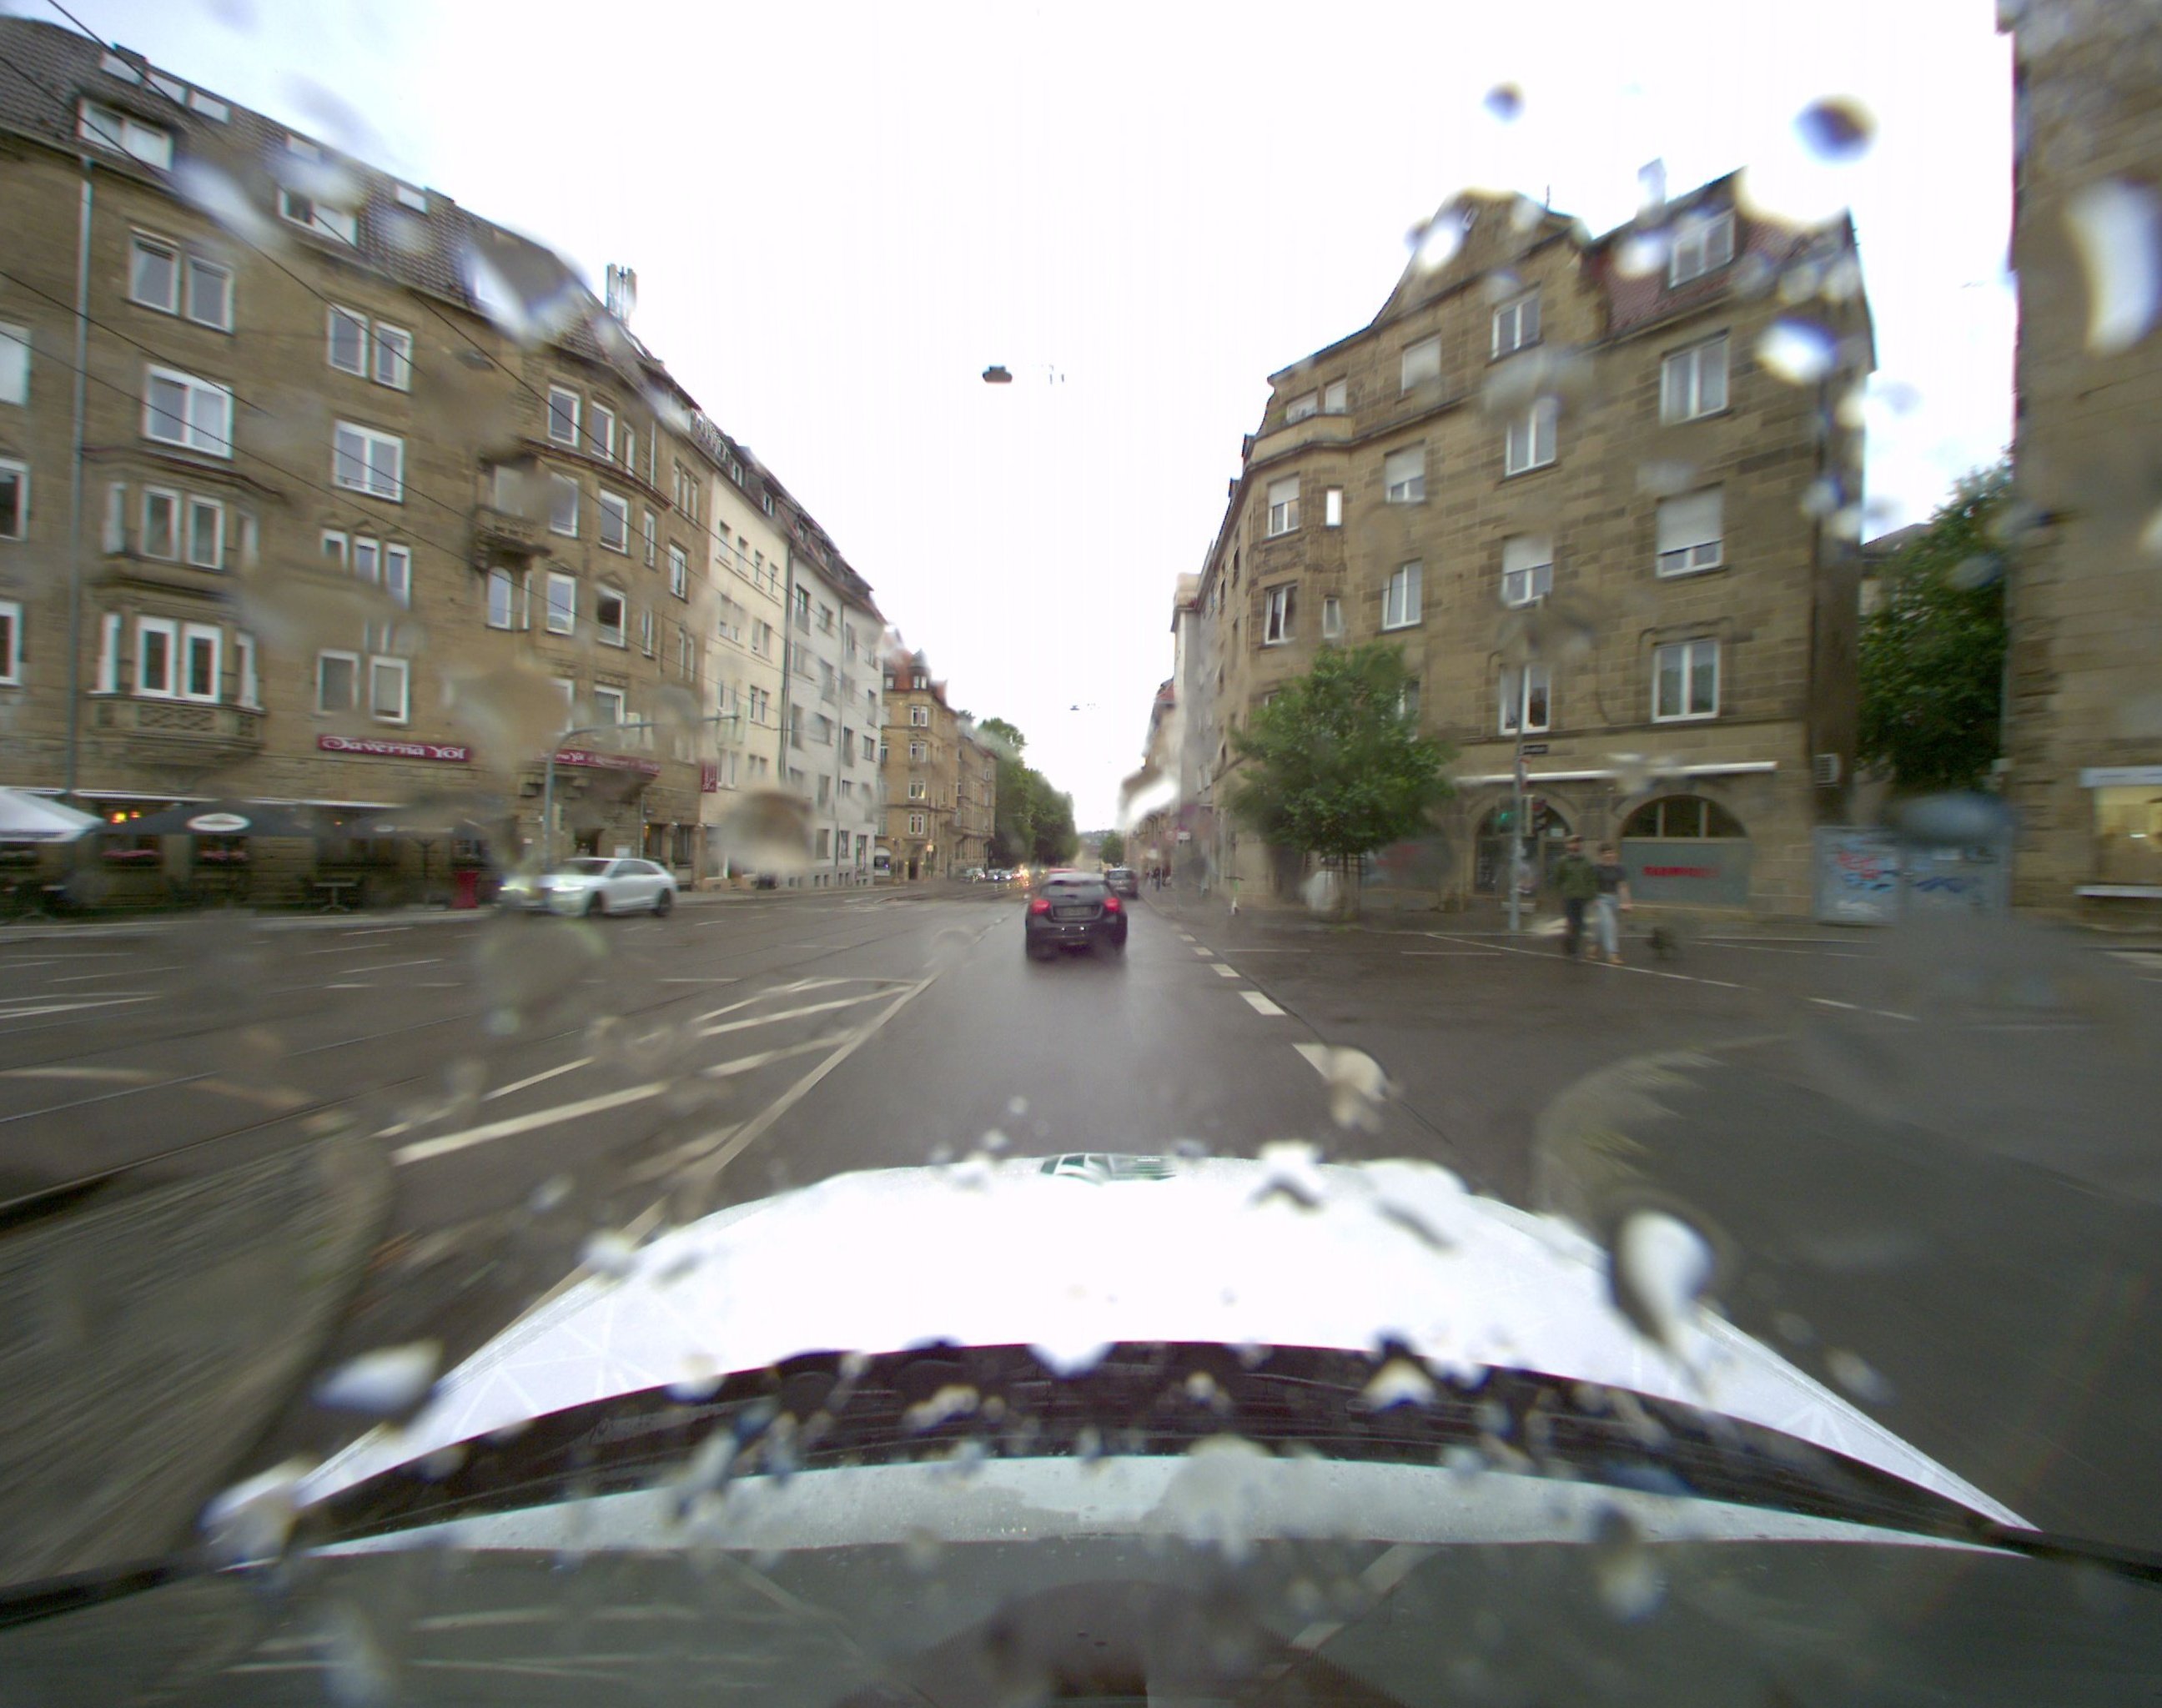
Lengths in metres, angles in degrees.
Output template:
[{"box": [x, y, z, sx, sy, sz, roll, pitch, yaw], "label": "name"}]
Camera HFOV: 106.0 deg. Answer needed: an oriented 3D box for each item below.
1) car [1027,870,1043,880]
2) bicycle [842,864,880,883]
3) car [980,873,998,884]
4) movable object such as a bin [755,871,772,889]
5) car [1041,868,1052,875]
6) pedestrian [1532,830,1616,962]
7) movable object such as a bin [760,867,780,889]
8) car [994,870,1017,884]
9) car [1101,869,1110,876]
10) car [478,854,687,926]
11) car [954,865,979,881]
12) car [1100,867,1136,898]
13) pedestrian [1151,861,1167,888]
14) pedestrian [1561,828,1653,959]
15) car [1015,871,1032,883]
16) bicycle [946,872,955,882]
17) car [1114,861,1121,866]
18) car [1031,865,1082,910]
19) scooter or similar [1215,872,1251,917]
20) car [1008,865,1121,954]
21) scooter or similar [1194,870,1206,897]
[{"box": [-6.647, 2.960, 117.228, 1.799, 1.361, 4.766, 0, -1, 3], "label": "car"}, {"box": [-20.387, 1.765, 75.552, 3.145, 1.583, 1.594, 0, 5, -10], "label": "bicycle"}, {"box": [-10.883, 2.879, 96.356, 1.562, 1.316, 3.484, 0, -1, 4], "label": "car"}, {"box": [-16.377, 1.334, 42.044, 0.591, 0.911, 0.560, 4, -1, 2], "label": "movable object such as a bin"}, {"box": [-6.144, 3.112, 145.031, 1.687, 1.388, 3.484, 0, -1, 4], "label": "car"}, {"box": [6.949, 0.576, 11.523, 0.592, 1.789, 0.890, -1, -2, -1], "label": "pedestrian"}, {"box": [-16.323, 1.268, 42.738, 0.710, 1.074, 0.687, 4, -1, 2], "label": "movable object such as a bin"}, {"box": [-8.142, 2.462, 88.181, 1.940, 1.397, 4.276, -1, -1, 3], "label": "car"}, {"box": [4.848, 3.668, 159.213, 1.607, 1.317, 4.002, 0, -1, 2], "label": "car"}, {"box": [-12.586, 0.852, 21.108, 1.986, 1.628, 5.255, 0, -1, 2], "label": "car"}, {"box": [-11.385, 1.928, 81.261, 1.714, 1.541, 3.937, 0, -1, 4], "label": "car"}, {"box": [1.937, 1.472, 42.789, 1.758, 1.559, 4.748, 0, -1, 2], "label": "car"}, {"box": [5.093, 1.336, 53.439, 0.942, 1.769, 1.015, 0, -1, 0], "label": "pedestrian"}, {"box": [7.548, 0.553, 11.721, 0.680, 1.789, 0.901, -1, -2, -1], "label": "pedestrian"}, {"box": [-7.499, 3.012, 106.040, 1.673, 1.497, 3.522, 0, -1, 4], "label": "car"}, {"box": [-13.224, 2.278, 82.466, 0.596, 1.001, 2.078, 0, -1, -2], "label": "bicycle"}, {"box": [8.662, 2.273, 194.529, 1.607, 1.317, 4.002, 2, -1, 2], "label": "car"}, {"box": [-0.797, 1.115, 28.482, 1.644, 1.452, 3.999, 1, -1, 0], "label": "car"}, {"box": [4.188, 1.099, 22.528, 0.636, 1.210, 1.551, 0, -1, -2], "label": "scooter or similar"}, {"box": [-0.197, 0.950, 15.437, 1.859, 1.452, 4.002, -1, -1, 2], "label": "car"}, {"box": [5.538, 1.361, 37.866, 0.394, 1.216, 1.107, 0, -1, 0], "label": "scooter or similar"}]
